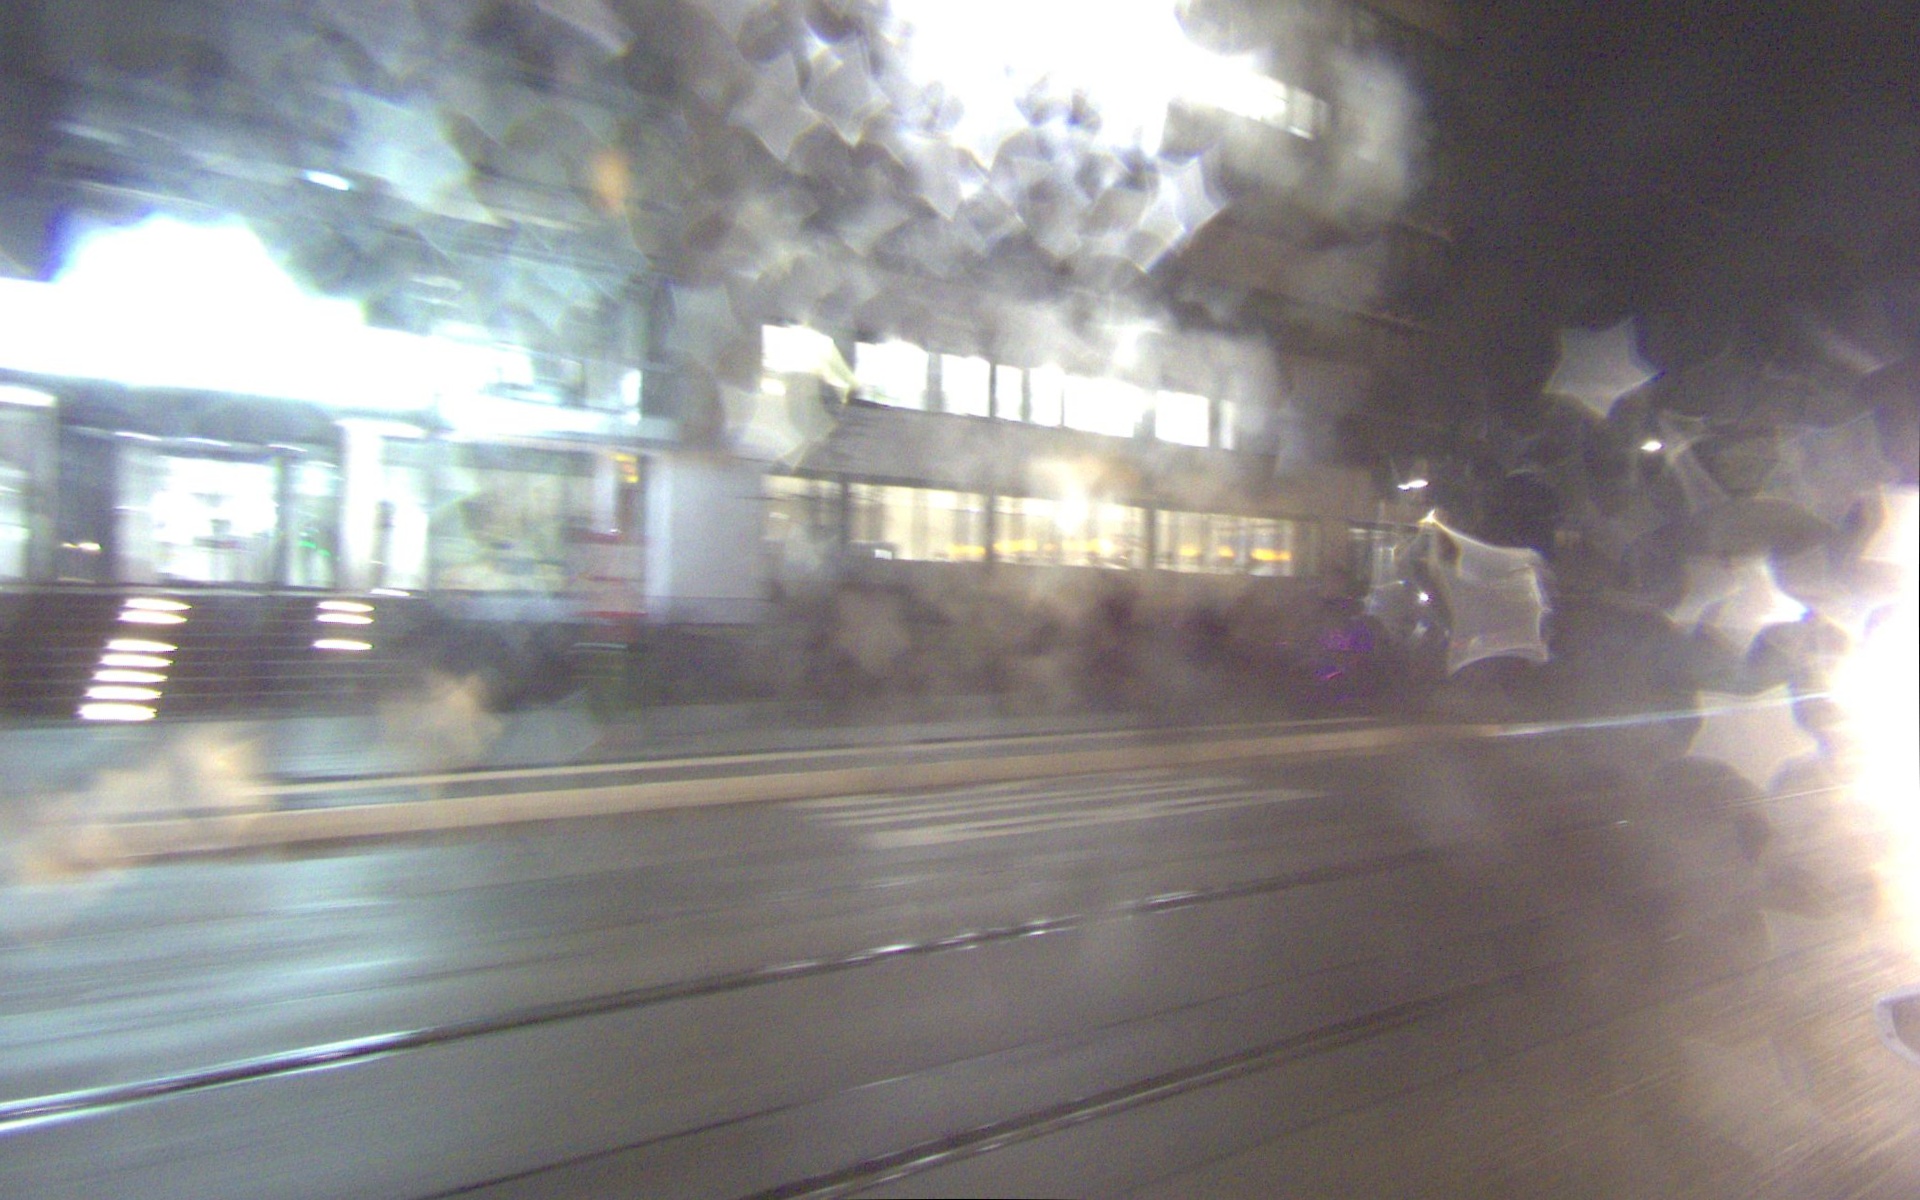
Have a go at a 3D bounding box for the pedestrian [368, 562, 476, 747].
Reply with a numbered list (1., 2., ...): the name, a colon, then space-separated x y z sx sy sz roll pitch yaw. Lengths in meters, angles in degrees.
1. pedestrian: -5.258 0.505 9.828 0.872 1.709 0.782 1 0 -30
